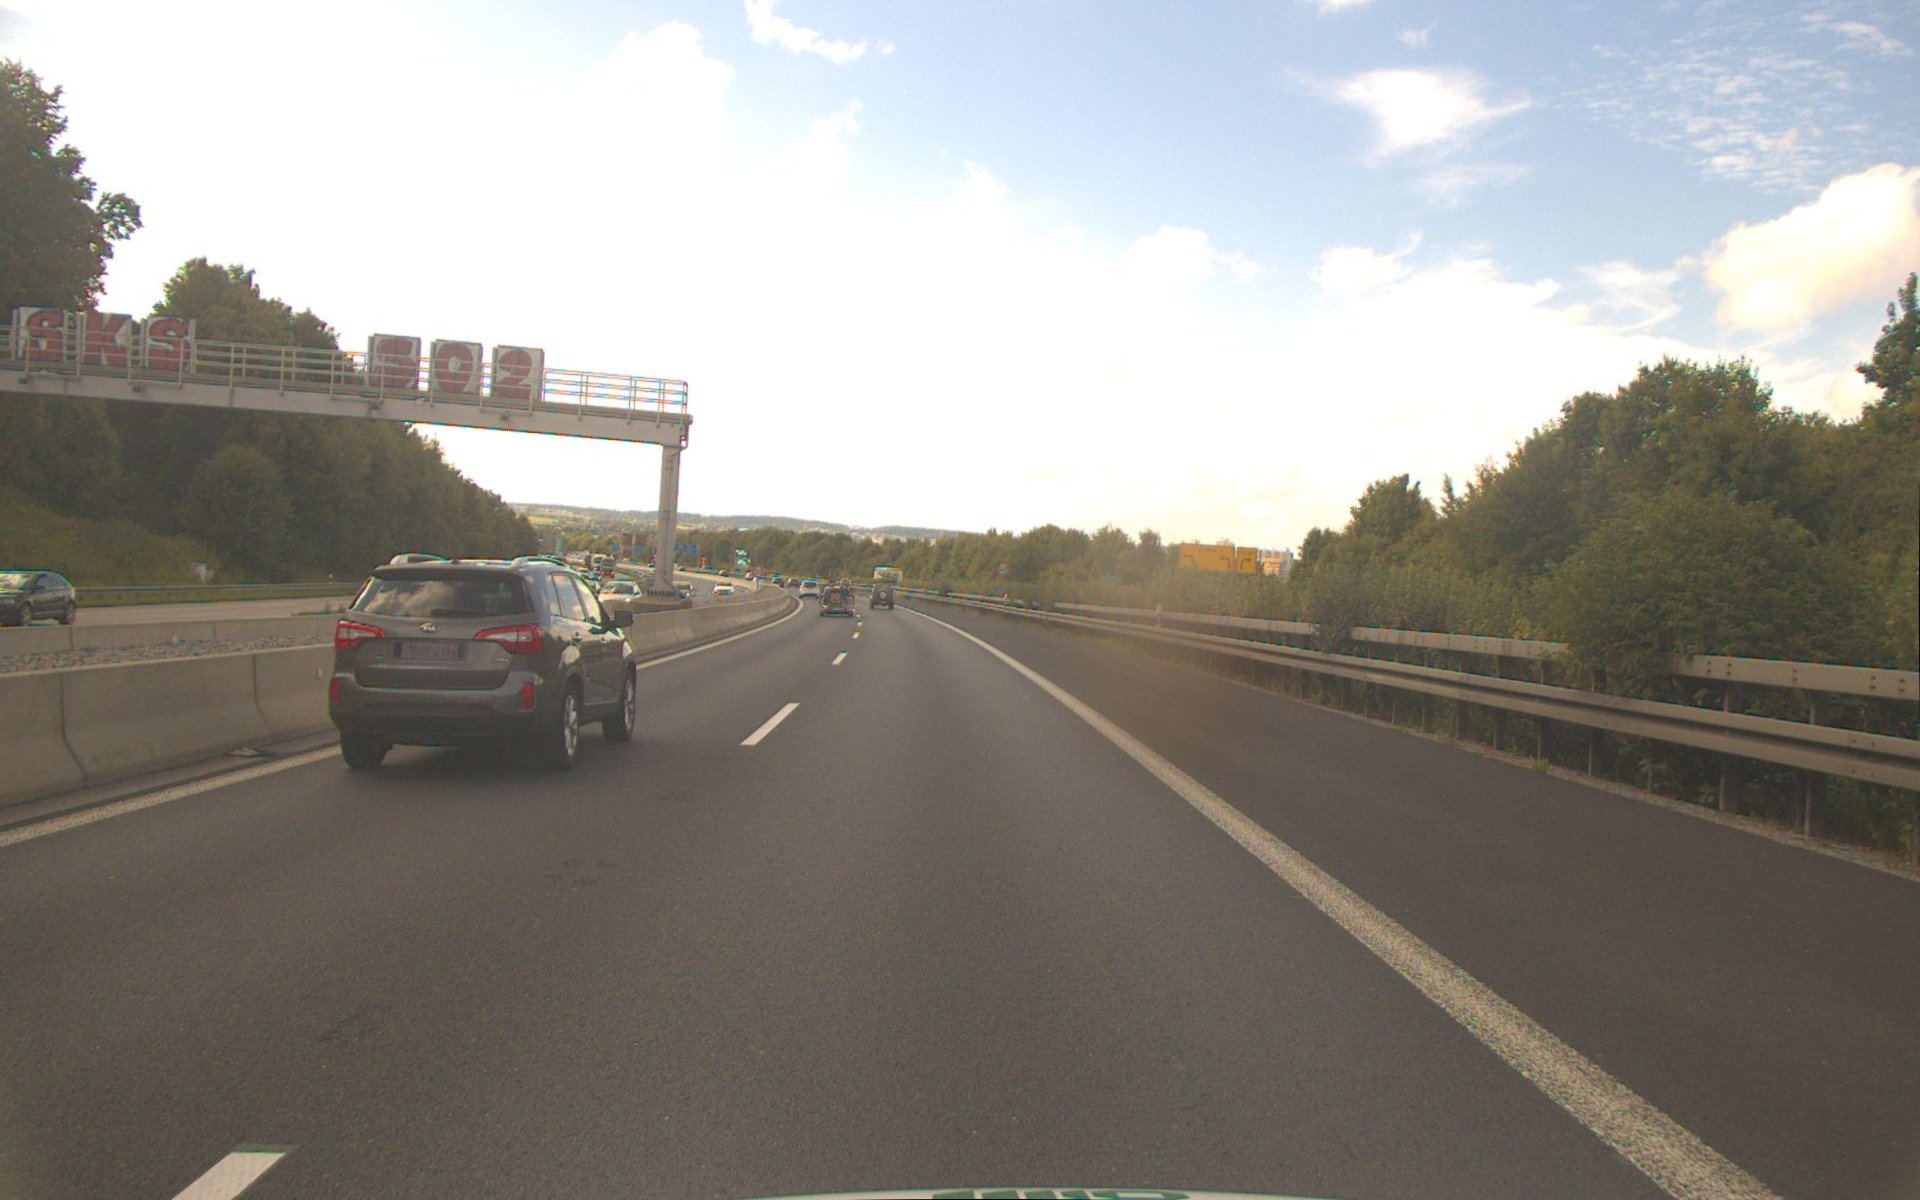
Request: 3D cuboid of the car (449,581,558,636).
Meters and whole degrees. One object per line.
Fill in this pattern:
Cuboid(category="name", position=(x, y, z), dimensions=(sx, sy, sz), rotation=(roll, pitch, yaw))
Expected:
Cuboid(category="car", position=(-13.865, 0.240, 50.548), dimensions=(1.953, 1.563, 5.283), rotation=(1, 0, -2))

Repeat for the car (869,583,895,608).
Cuboid(category="car", position=(-5.458, -0.324, 115.089), dimensions=(1.556, 1.624, 4.091), rotation=(1, 1, -6))

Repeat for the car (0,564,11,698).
Cuboid(category="car", position=(-11.991, 0.349, 17.244), dimensions=(1.664, 1.566, 4.499), rotation=(1, 0, -2))

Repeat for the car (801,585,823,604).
Cuboid(category="car", position=(-14.568, -0.536, 162.725), dimensions=(1.956, 1.713, 3.993), rotation=(1, -1, -7))

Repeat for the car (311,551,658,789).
Cuboid(category="car", position=(-4.065, 0.521, 15.099), dimensions=(1.781, 1.766, 5.185), rotation=(1, 0, -2))

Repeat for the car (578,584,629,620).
Cuboid(category="car", position=(-15.390, 0.079, 71.492), dimensions=(1.534, 1.475, 3.886), rotation=(1, 0, -3))

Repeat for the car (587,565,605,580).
Cuboid(category="car", position=(-52.127, -3.926, 236.961), dimensions=(1.955, 2.049, 3.996), rotation=(2, 0, -5))

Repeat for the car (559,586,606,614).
Cuboid(category="car", position=(-20.012, -0.013, 87.797), dimensions=(1.632, 1.420, 4.598), rotation=(1, 0, -3))

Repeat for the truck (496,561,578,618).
Cuboid(category="truck", position=(-18.039, -0.447, 70.759), dimensions=(2.139, 2.264, 5.569), rotation=(1, 0, -2))

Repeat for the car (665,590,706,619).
Cuboid(category="car", position=(-16.756, 0.241, 101.200), dimensions=(1.953, 1.670, 3.998), rotation=(1, 0, -3))

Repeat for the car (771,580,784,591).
Cuboid(category="car", position=(-28.642, -2.279, 259.661), dimensions=(1.576, 1.585, 3.989), rotation=(1, -1, -11))

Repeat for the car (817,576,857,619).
Cuboid(category="car", position=(-6.499, -0.160, 87.762), dimensions=(1.990, 2.189, 3.998), rotation=(1, 1, -3))

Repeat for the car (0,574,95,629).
Cuboid(category="car", position=(-23.943, 0.009, 42.203), dimensions=(1.787, 1.334, 4.183), rotation=(1, 0, -5))

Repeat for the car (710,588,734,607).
Cuboid(category="car", position=(-21.756, -0.257, 151.571), dimensions=(1.729, 1.608, 4.929), rotation=(2, 0, -3))
